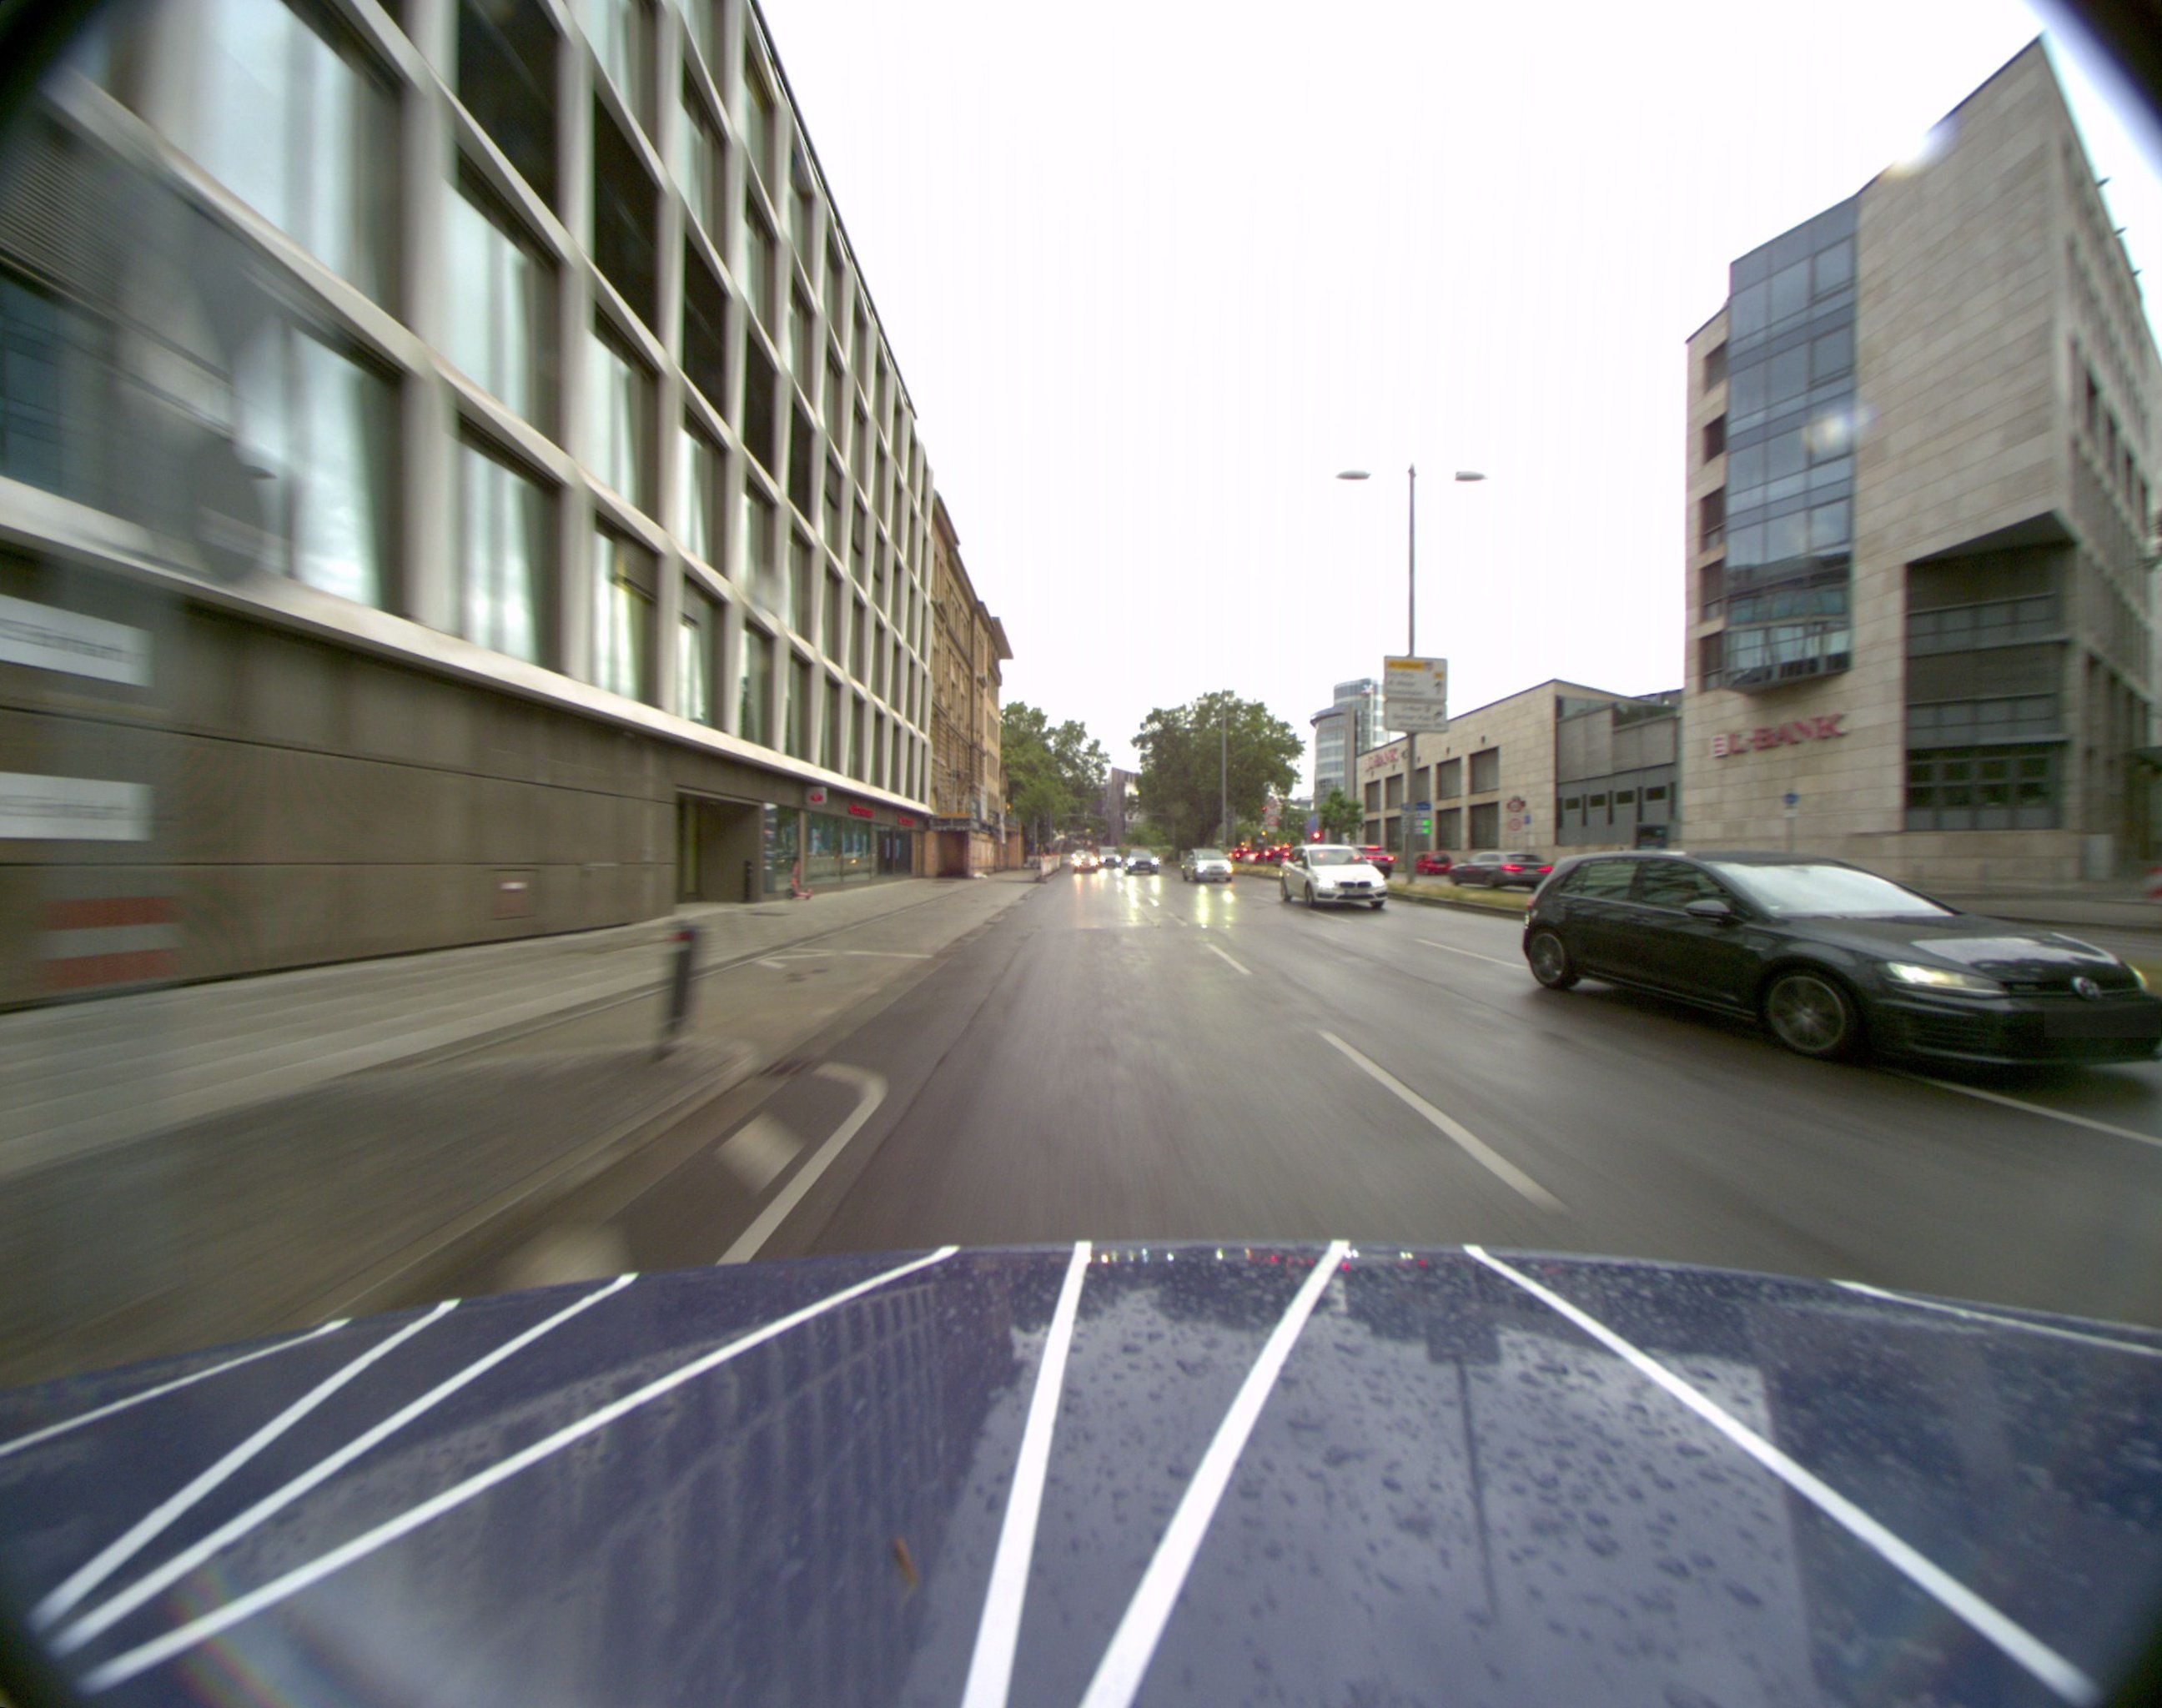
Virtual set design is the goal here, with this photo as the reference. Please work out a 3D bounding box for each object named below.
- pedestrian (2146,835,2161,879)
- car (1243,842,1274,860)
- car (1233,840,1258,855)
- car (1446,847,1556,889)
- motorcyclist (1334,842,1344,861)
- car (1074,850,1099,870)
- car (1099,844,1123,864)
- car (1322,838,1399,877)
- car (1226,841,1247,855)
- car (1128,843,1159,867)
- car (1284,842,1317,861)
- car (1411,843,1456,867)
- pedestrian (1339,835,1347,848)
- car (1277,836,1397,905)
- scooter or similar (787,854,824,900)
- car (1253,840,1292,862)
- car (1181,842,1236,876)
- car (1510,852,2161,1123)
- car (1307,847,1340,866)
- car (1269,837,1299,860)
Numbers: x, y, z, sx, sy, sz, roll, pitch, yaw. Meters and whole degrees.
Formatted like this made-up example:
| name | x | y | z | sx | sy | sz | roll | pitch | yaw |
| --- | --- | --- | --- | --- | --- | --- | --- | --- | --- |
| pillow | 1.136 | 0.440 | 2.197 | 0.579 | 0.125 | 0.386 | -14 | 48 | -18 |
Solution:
| name | x | y | z | sx | sy | sz | roll | pitch | yaw |
| --- | --- | --- | --- | --- | --- | --- | --- | --- | --- |
| pedestrian | 38.287 | 0.097 | 26.732 | 0.669 | 1.561 | 0.820 | -1 | 0 | -21 |
| car | 14.558 | -0.249 | 62.576 | 1.864 | 1.434 | 4.314 | -1 | 1 | 4 |
| car | 15.168 | -0.622 | 70.210 | 1.751 | 1.357 | 3.944 | 0 | 2 | 6 |
| car | 16.093 | 0.471 | 29.428 | 1.695 | 1.430 | 4.758 | 0 | 2 | 1 |
| motorcyclist | 21.078 | -0.182 | 62.044 | 0.521 | 1.520 | 0.973 | -1 | 1 | 1 |
| car | 0.391 | 0.389 | 53.398 | 1.716 | 1.274 | 3.493 | 0 | 1 | 0 |
| car | 2.671 | -0.002 | 67.487 | 1.998 | 1.734 | 3.909 | -1 | 1 | 2 |
| car | 12.930 | 0.096 | 35.467 | 1.878 | 1.671 | 4.679 | 0 | 2 | 1 |
| car | 15.762 | -0.663 | 77.275 | 1.751 | 1.357 | 4.132 | 0 | 2 | 6 |
| car | 3.893 | 0.059 | 47.768 | 1.716 | 1.433 | 3.494 | 1 | 1 | 1 |
| car | 17.963 | -0.255 | 62.268 | 1.730 | 1.424 | 4.395 | 0 | 2 | 4 |
| car | 22.503 | 0.048 | 48.609 | 1.595 | 1.408 | 3.401 | 0 | 2 | 5 |
| pedestrian | 36.439 | -1.734 | 105.660 | 0.589 | 1.913 | 1.125 | -2 | 1 | 1 |
| car | 6.481 | 0.350 | 19.729 | 1.781 | 1.587 | 3.999 | 0 | 2 | 0 |
| scooter or similar | -7.693 | 0.618 | 21.261 | 0.412 | 1.229 | 1.190 | 0 | 1 | 9 |
| car | 13.682 | -0.252 | 54.615 | 1.704 | 1.429 | 4.581 | 0 | 2 | 1 |
| car | 5.856 | 0.191 | 35.191 | 1.612 | 1.433 | 3.492 | -3 | 1 | -5 |
| car | 5.687 | 0.737 | 6.321 | 1.789 | 1.444 | 4.121 | -1 | 1 | -3 |
| car | 21.270 | 0.193 | 66.783 | 1.730 | 1.524 | 4.640 | 0 | 2 | 4 |
| car | 18.456 | -0.559 | 69.420 | 1.835 | 1.991 | 5.105 | 0 | 2 | 6 |
